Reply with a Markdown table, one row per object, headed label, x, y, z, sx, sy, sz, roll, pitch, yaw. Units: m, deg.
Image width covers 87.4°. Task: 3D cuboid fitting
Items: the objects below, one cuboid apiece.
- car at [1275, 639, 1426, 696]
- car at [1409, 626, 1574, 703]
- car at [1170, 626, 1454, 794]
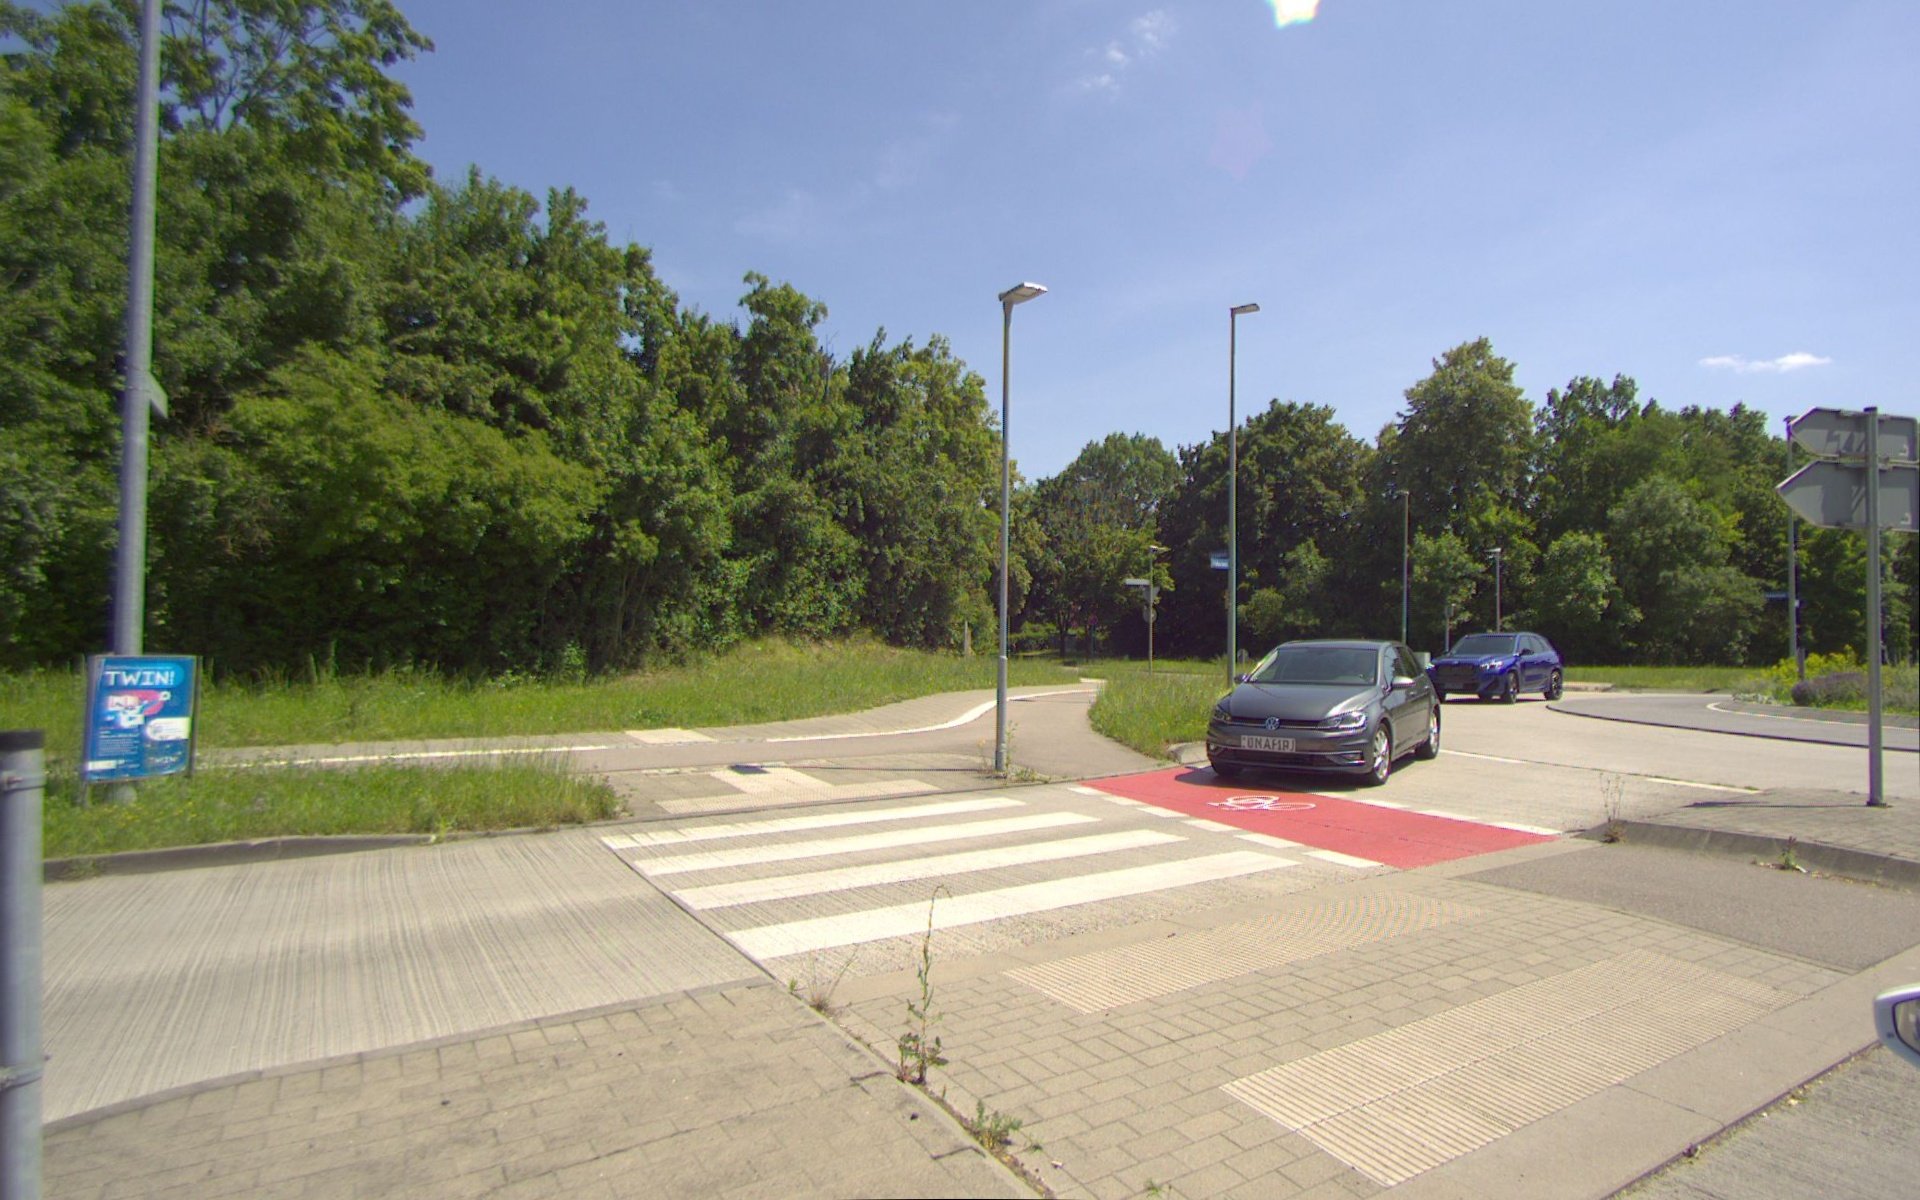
| label | x | y | z | sx | sy | sz | roll | pitch | yaw |
| --- | --- | --- | --- | --- | --- | --- | --- | --- | --- |
| car | 12.127 | 2.075 | 31.556 | 1.929 | 1.514 | 4.541 | 2 | -1 | -19 |
| car | 12.635 | 1.465 | 23.776 | 4.287 | 1.617 | 1.977 | 1 | -2 | -40 |
| car | 4.132 | 1.092 | 11.308 | 1.967 | 1.498 | 4.276 | -2 | -3 | 34 |
